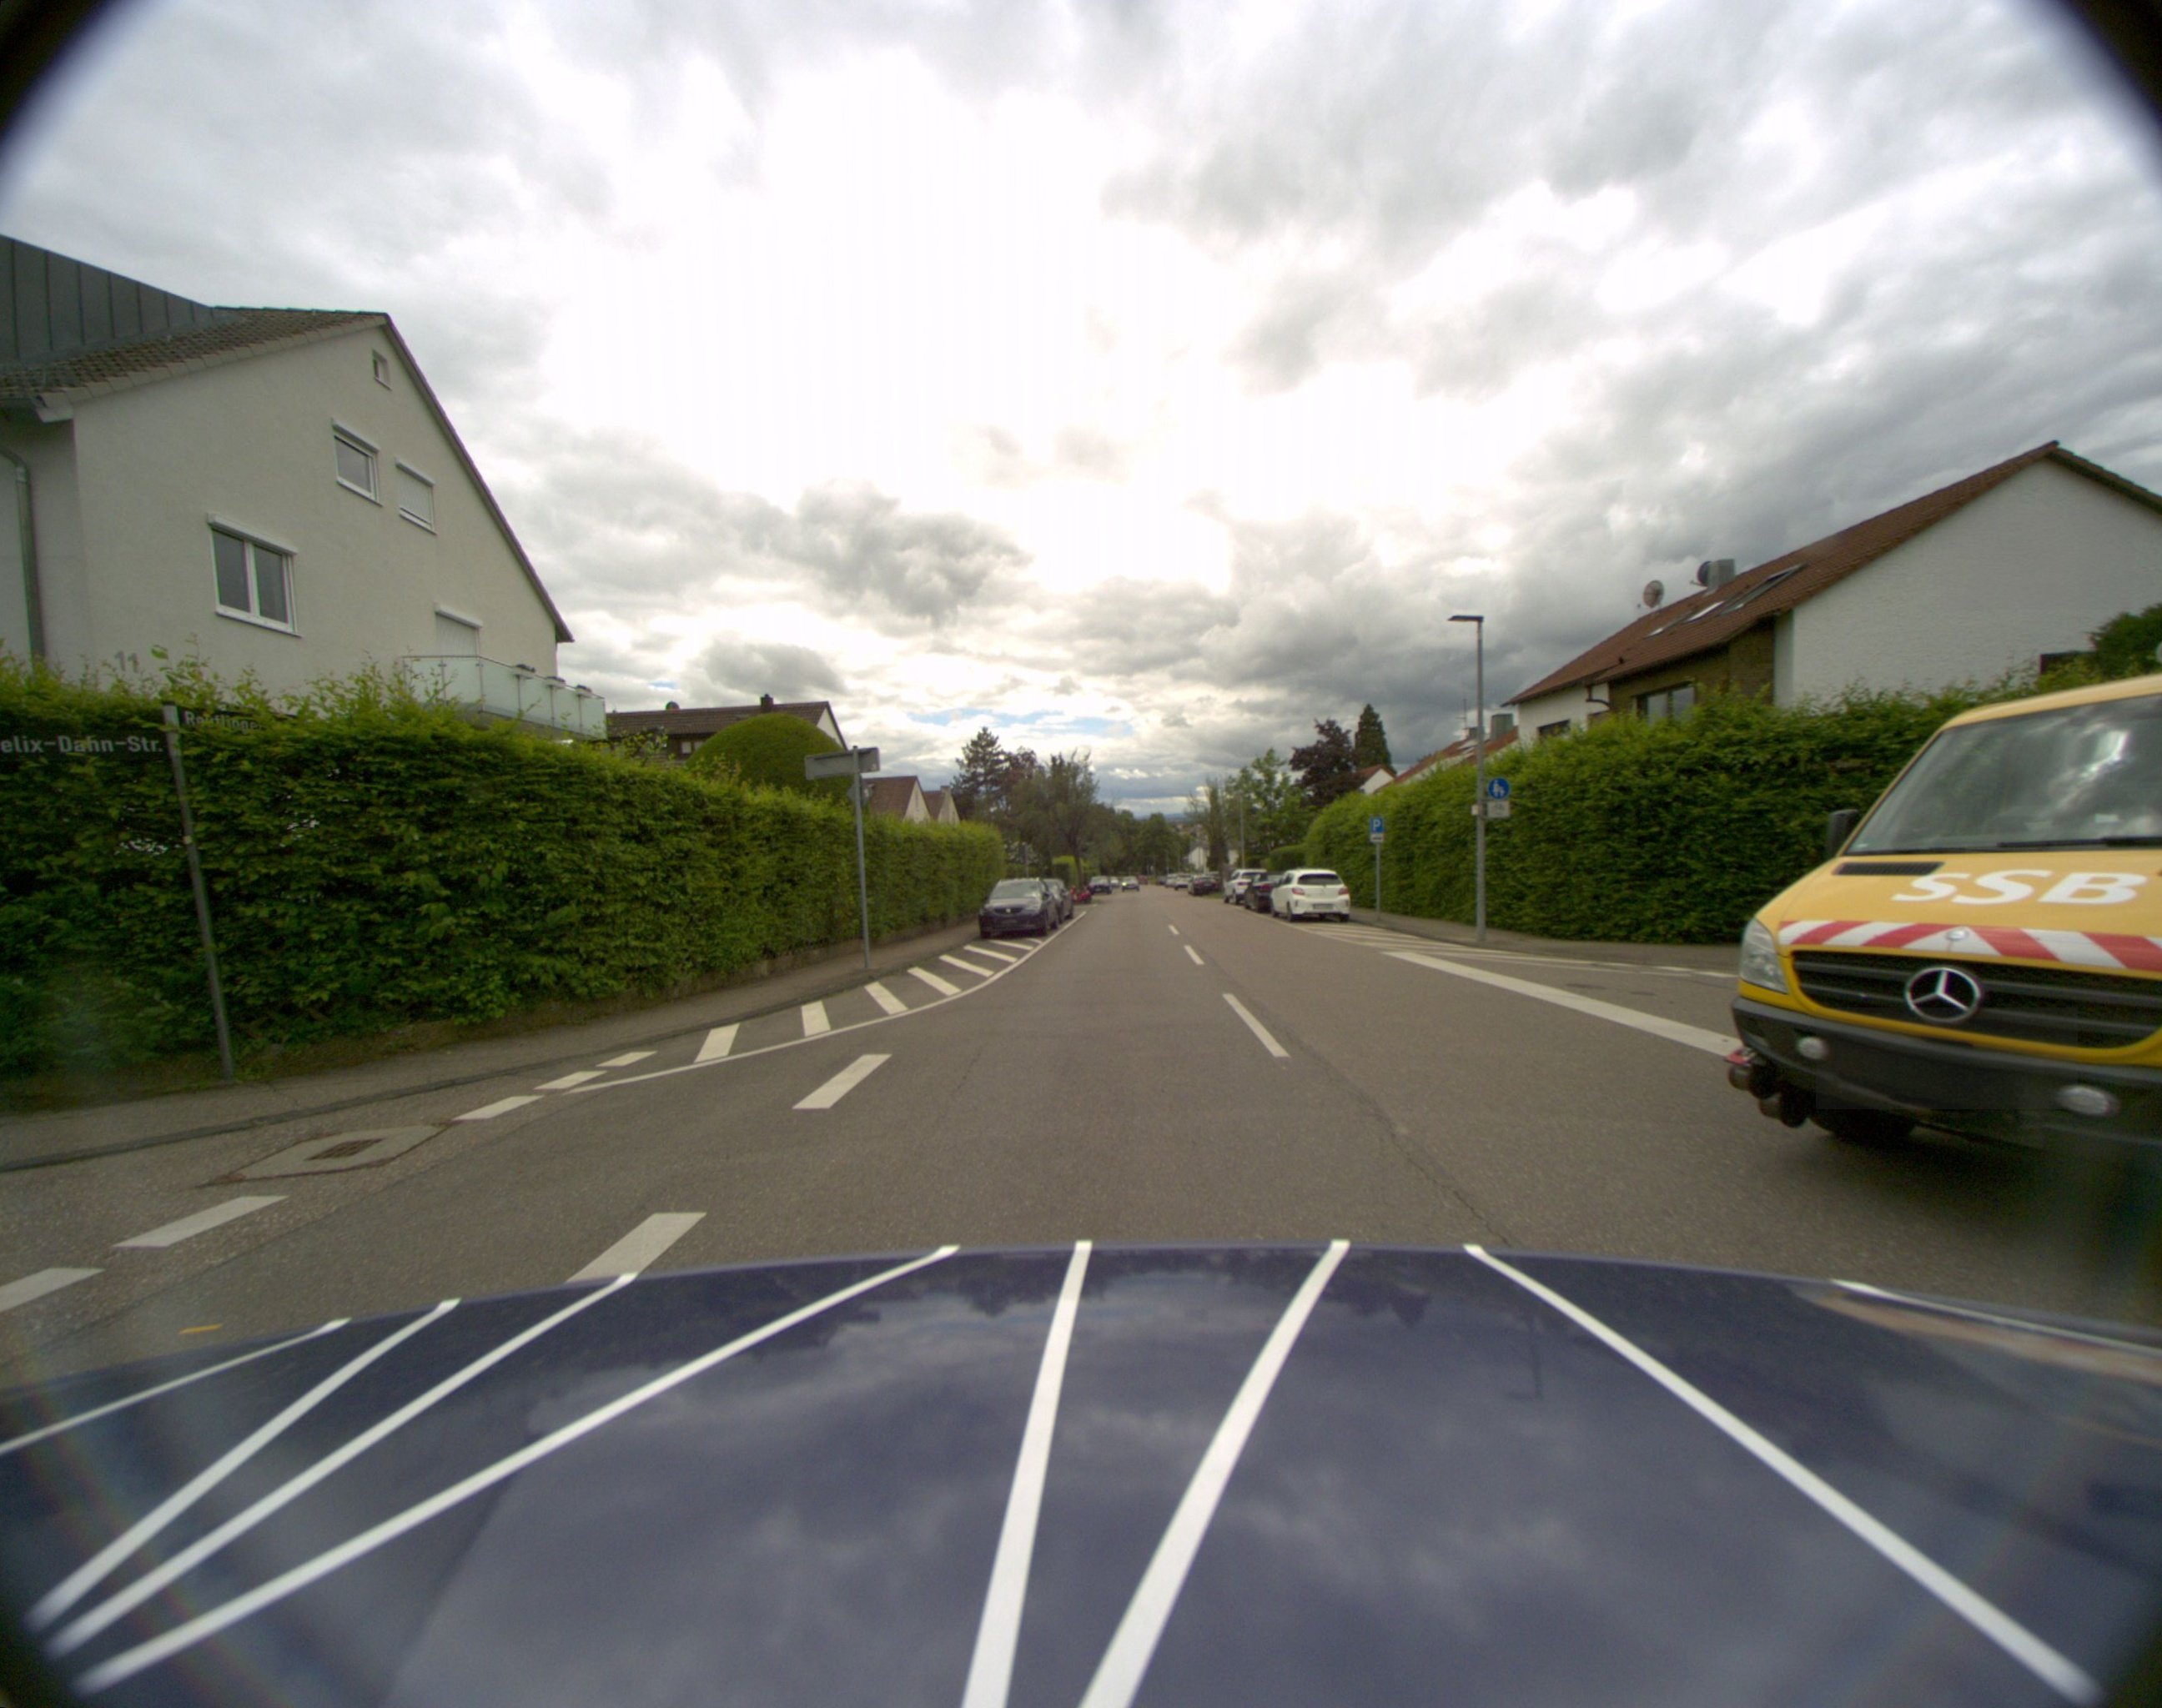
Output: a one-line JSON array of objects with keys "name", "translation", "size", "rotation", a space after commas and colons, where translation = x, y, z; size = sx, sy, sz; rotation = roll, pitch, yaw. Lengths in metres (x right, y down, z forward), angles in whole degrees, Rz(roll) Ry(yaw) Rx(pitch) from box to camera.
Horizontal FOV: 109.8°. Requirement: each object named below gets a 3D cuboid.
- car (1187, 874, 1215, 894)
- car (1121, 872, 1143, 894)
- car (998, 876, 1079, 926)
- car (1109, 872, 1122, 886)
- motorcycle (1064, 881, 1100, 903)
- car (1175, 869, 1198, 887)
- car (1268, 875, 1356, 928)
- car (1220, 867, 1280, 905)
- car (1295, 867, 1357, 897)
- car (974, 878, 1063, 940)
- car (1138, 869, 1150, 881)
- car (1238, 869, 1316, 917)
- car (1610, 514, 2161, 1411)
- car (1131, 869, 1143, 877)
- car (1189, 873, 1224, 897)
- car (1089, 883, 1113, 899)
[{"name": "car", "translation": [9.054, 2.257, 57.641], "size": [1.725, 1.367, 4.002], "rotation": [-1, -1, 4]}, {"name": "car", "translation": [5.261, 2.923, 77.866], "size": [1.998, 2.001, 4.002], "rotation": [-4, -1, 7]}, {"name": "car", "translation": [-1.344, 1.564, 26.391], "size": [1.927, 1.485, 5.212], "rotation": [-2, -1, 6]}, {"name": "car", "translation": [5.350, 3.780, 116.478], "size": [1.746, 2.001, 4.002], "rotation": [-4, -1, 5]}, {"name": "motorcycle", "translation": [0.047, 2.234, 44.483], "size": [1.941, 1.126, 0.658], "rotation": [-3, 0, -23]}, {"name": "car", "translation": [10.503, 2.334, 75.707], "size": [1.935, 1.521, 4.001], "rotation": [-4, 0, 4]}, {"name": "car", "translation": [6.641, 1.323, 22.185], "size": [1.693, 1.410, 3.582], "rotation": [0, -2, 4]}, {"name": "car", "translation": [7.298, 1.352, 33.192], "size": [1.890, 1.481, 4.344], "rotation": [-1, -1, 4]}, {"name": "car", "translation": [12.994, 1.497, 40.414], "size": [2.886, 1.496, 1.500], "rotation": [-2, -1, 8]}, {"name": "car", "translation": [-1.593, 1.428, 20.964], "size": [1.794, 1.479, 4.381], "rotation": [-1, -1, 4]}, {"name": "car", "translation": [11.058, 3.692, 132.644], "size": [1.871, 2.001, 4.002], "rotation": [-4, -1, 4]}, {"name": "car", "translation": [6.847, 1.307, 27.002], "size": [1.786, 1.481, 4.741], "rotation": [1, -1, 4]}, {"name": "car", "translation": [5.948, 0.286, 3.464], "size": [6.147, 2.585, 2.365], "rotation": [-1, -1, -16]}, {"name": "car", "translation": [12.897, 4.316, 175.466], "size": [1.999, 1.711, 3.999], "rotation": [-1, -1, -5]}, {"name": "car", "translation": [8.631, 2.135, 52.608], "size": [1.944, 1.540, 4.008], "rotation": [-1, -1, 4]}, {"name": "car", "translation": [1.835, 3.317, 68.437], "size": [1.998, 1.221, 4.002], "rotation": [-2, -1, 4]}]
